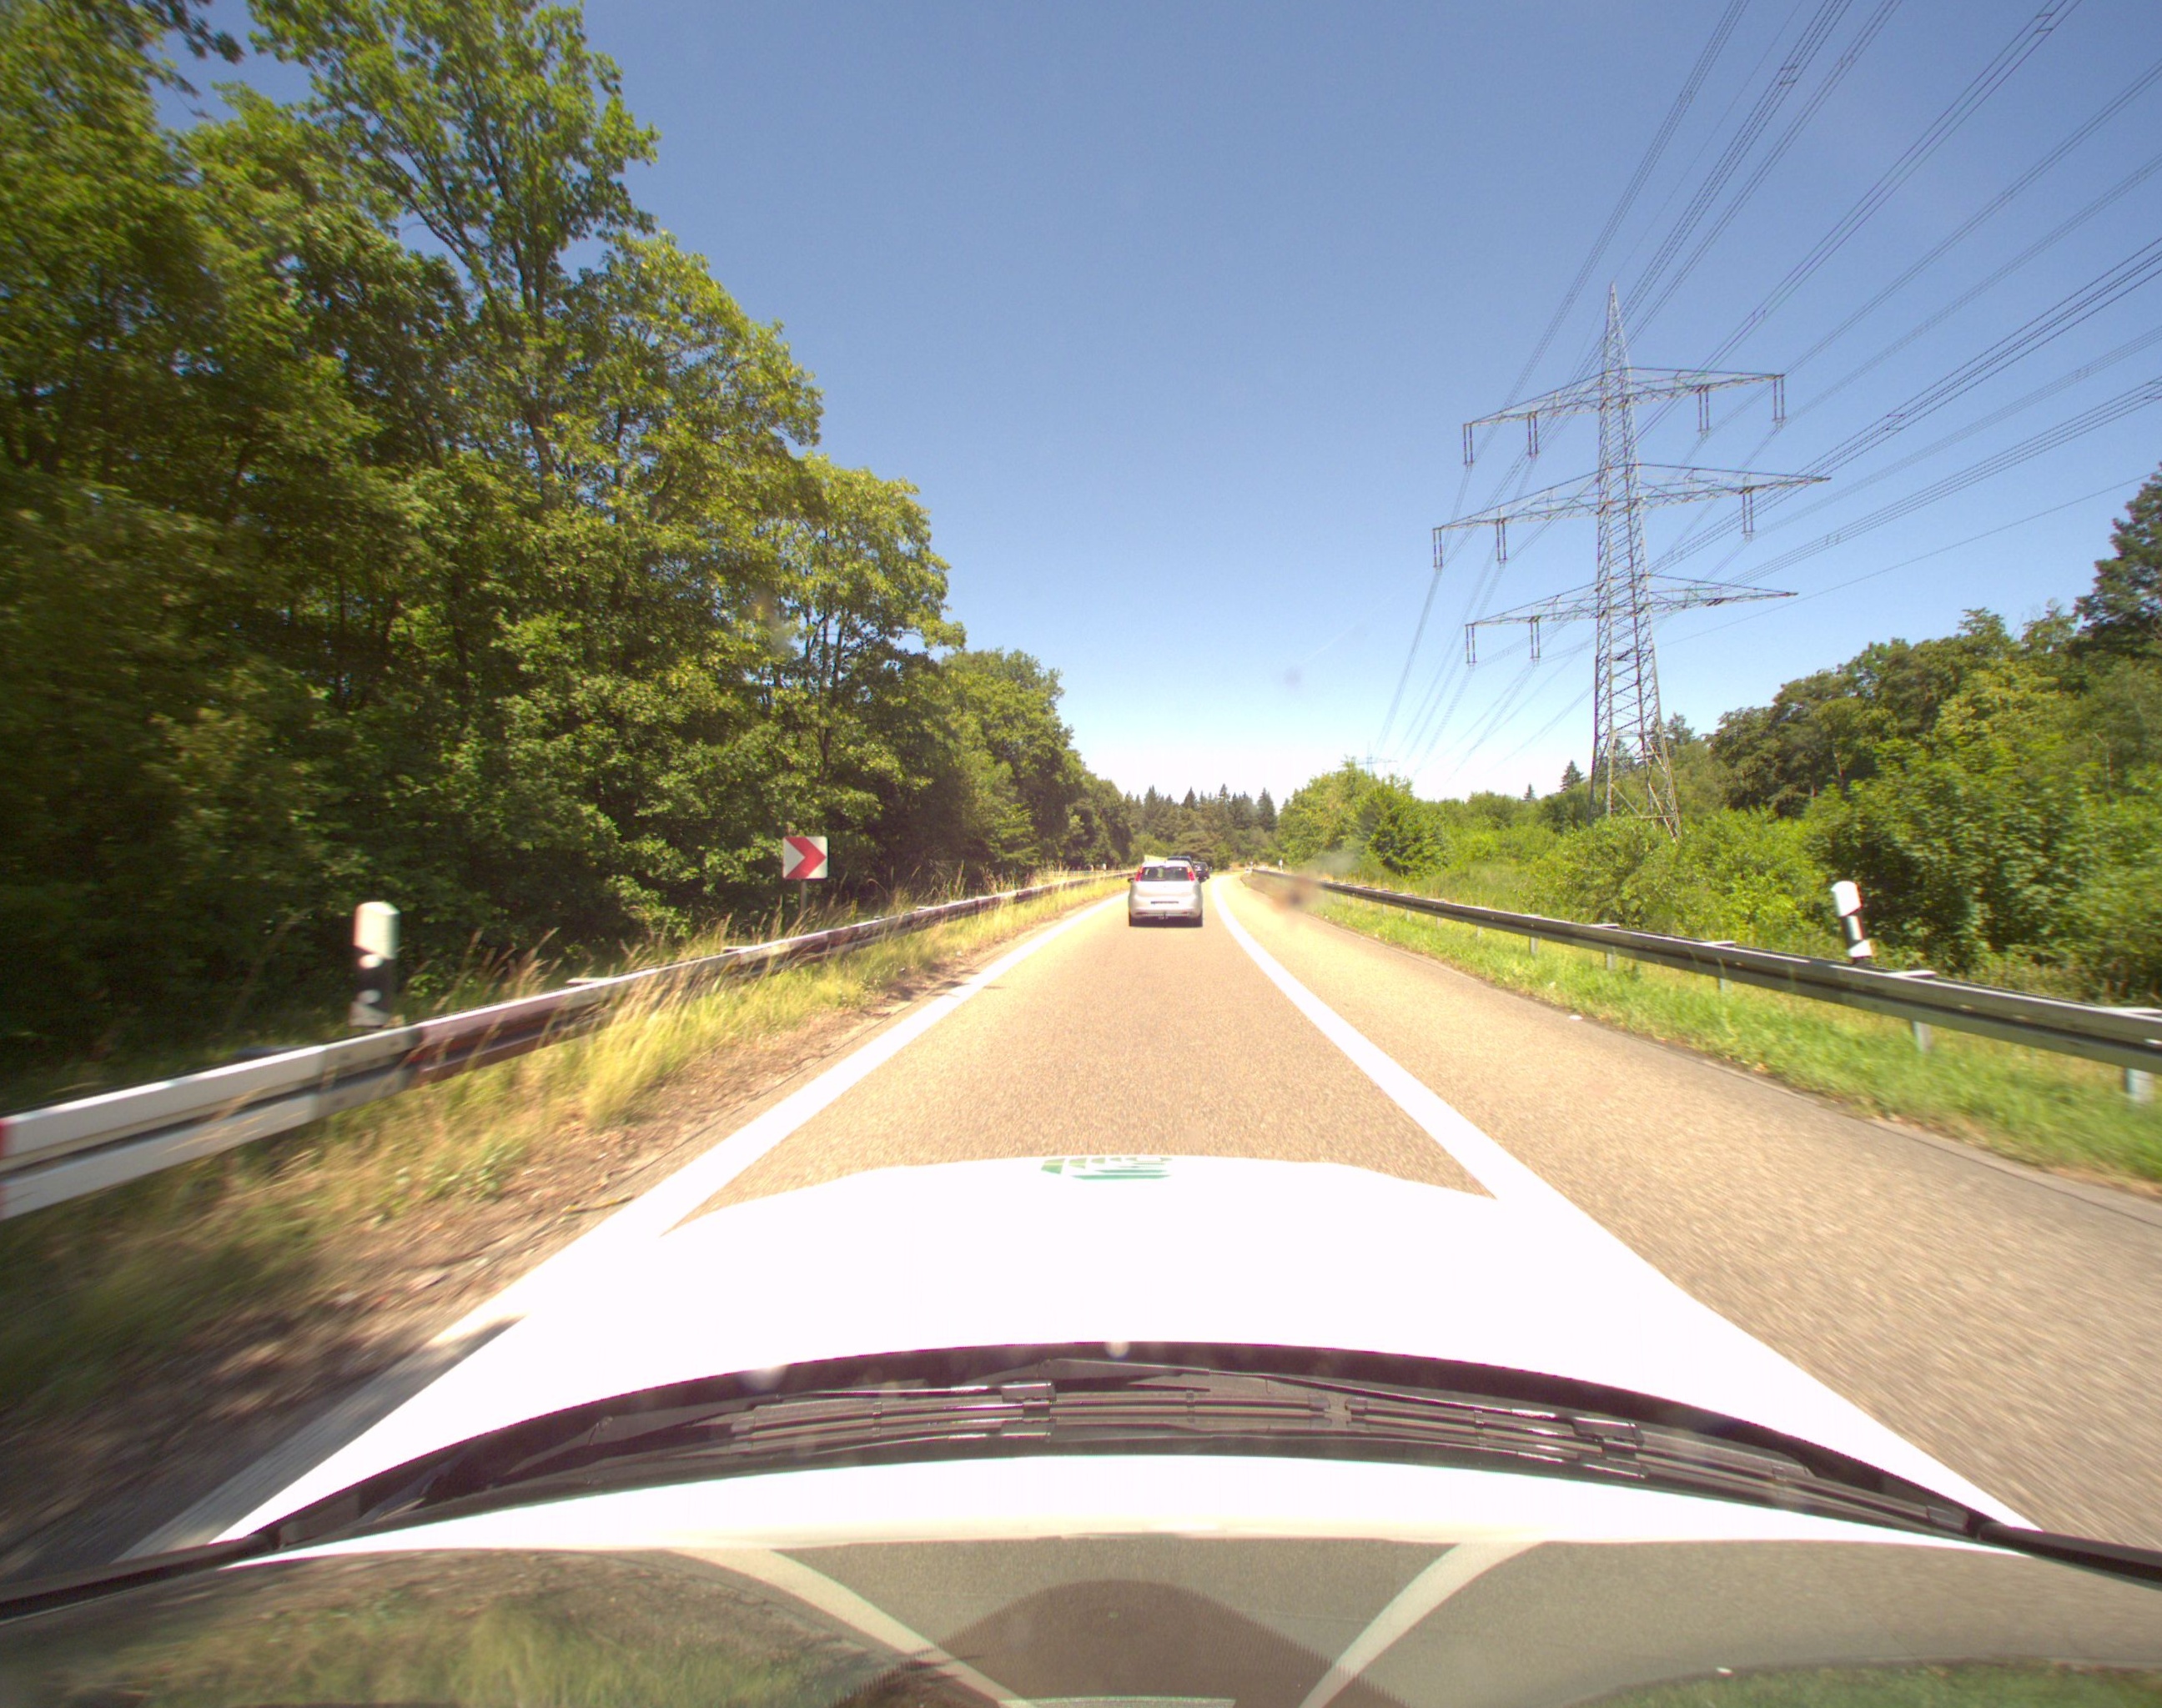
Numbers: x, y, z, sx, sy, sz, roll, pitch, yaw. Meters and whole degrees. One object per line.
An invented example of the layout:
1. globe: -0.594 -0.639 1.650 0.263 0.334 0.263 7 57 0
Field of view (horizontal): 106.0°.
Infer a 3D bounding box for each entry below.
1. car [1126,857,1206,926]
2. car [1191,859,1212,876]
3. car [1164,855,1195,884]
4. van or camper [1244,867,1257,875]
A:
1. car: 2.037 0.838 19.279 1.697 1.482 3.404 0 -1 7
2. car: 10.440 1.197 70.692 1.697 1.448 3.404 0 -1 7
3. car: 5.826 0.915 48.199 1.697 1.676 3.404 0 -1 7
4. van or camper: 34.797 3.492 167.034 1.791 1.486 4.021 -1 -1 22
